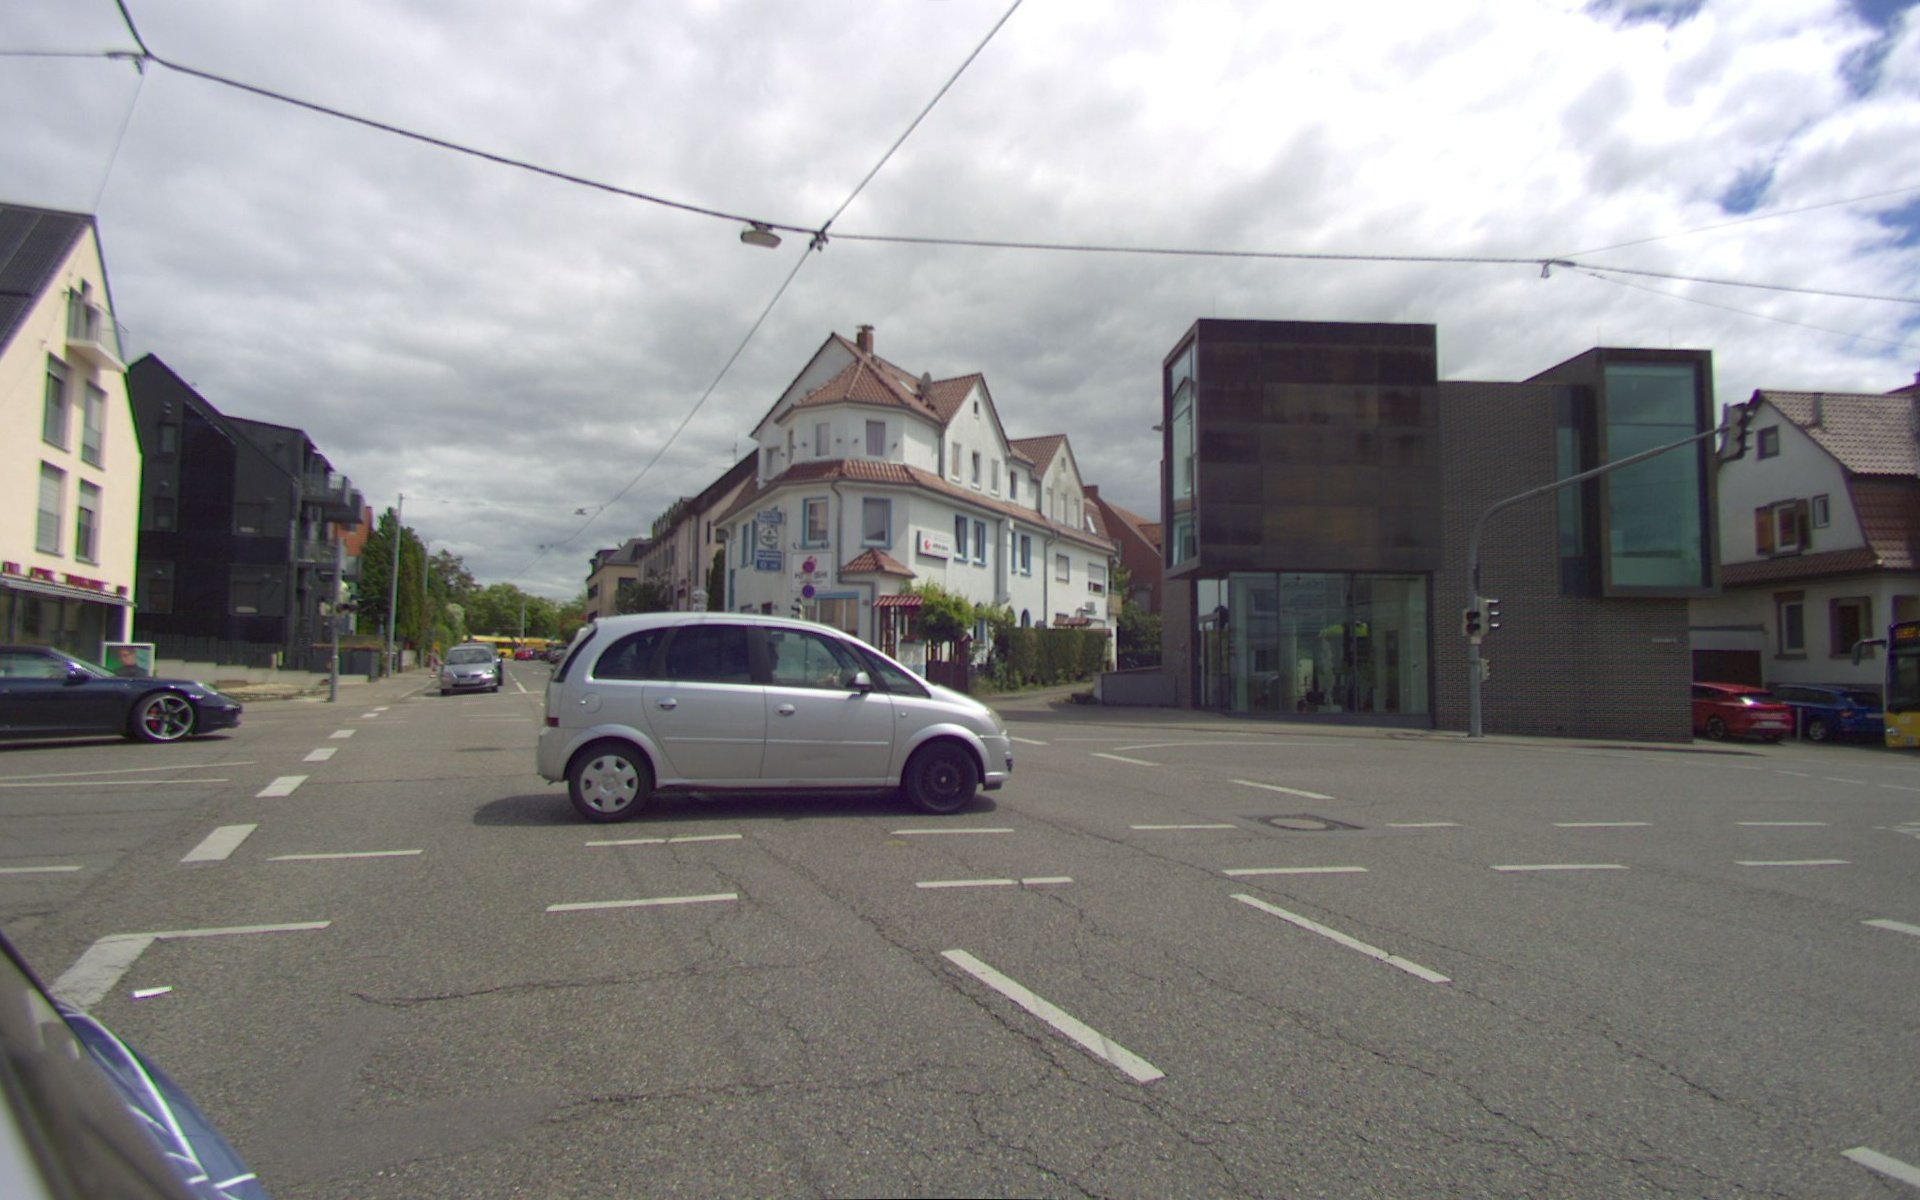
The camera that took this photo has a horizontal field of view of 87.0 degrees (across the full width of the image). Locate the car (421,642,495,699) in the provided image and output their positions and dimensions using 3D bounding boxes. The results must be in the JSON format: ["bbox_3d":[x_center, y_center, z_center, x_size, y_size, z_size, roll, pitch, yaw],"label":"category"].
[{"bbox_3d":[-16.191,2.235,32.757,1.965,1.697,4.013,3,-3,-25],"label":"car"}]

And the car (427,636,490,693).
[{"bbox_3d":[-19.130,2.431,38.654,1.965,2.029,4.013,3,-4,-26],"label":"car"}]

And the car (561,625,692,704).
[{"bbox_3d":[-8.431,1.686,26.017,1.797,1.826,4.416,0,-4,1],"label":"car"}]

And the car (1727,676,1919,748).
[{"bbox_3d":[23.719,3.026,27.836,1.969,1.697,4.004,2,-3,-5],"label":"car"}]

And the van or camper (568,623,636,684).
[{"bbox_3d":[-16.958,2.542,47.760,2.078,2.606,5.663,5,-6,-27],"label":"van or camper"}]

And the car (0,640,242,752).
[{"bbox_3d":[-11.794,1.156,12.647,2.000,1.292,4.243,-2,-4,42],"label":"car"}]

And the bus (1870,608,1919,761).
[{"bbox_3d":[23.941,1.785,20.247,9.055,3.084,2.788,1,-3,-3],"label":"bus"}]

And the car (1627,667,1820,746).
[{"bbox_3d":[20.648,2.822,27.611,1.969,1.652,4.005,2,1,-5],"label":"car"}]

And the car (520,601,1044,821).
[{"bbox_3d":[-1.454,0.906,8.642,3.934,1.587,1.780,2,-3,-14],"label":"car"}]
